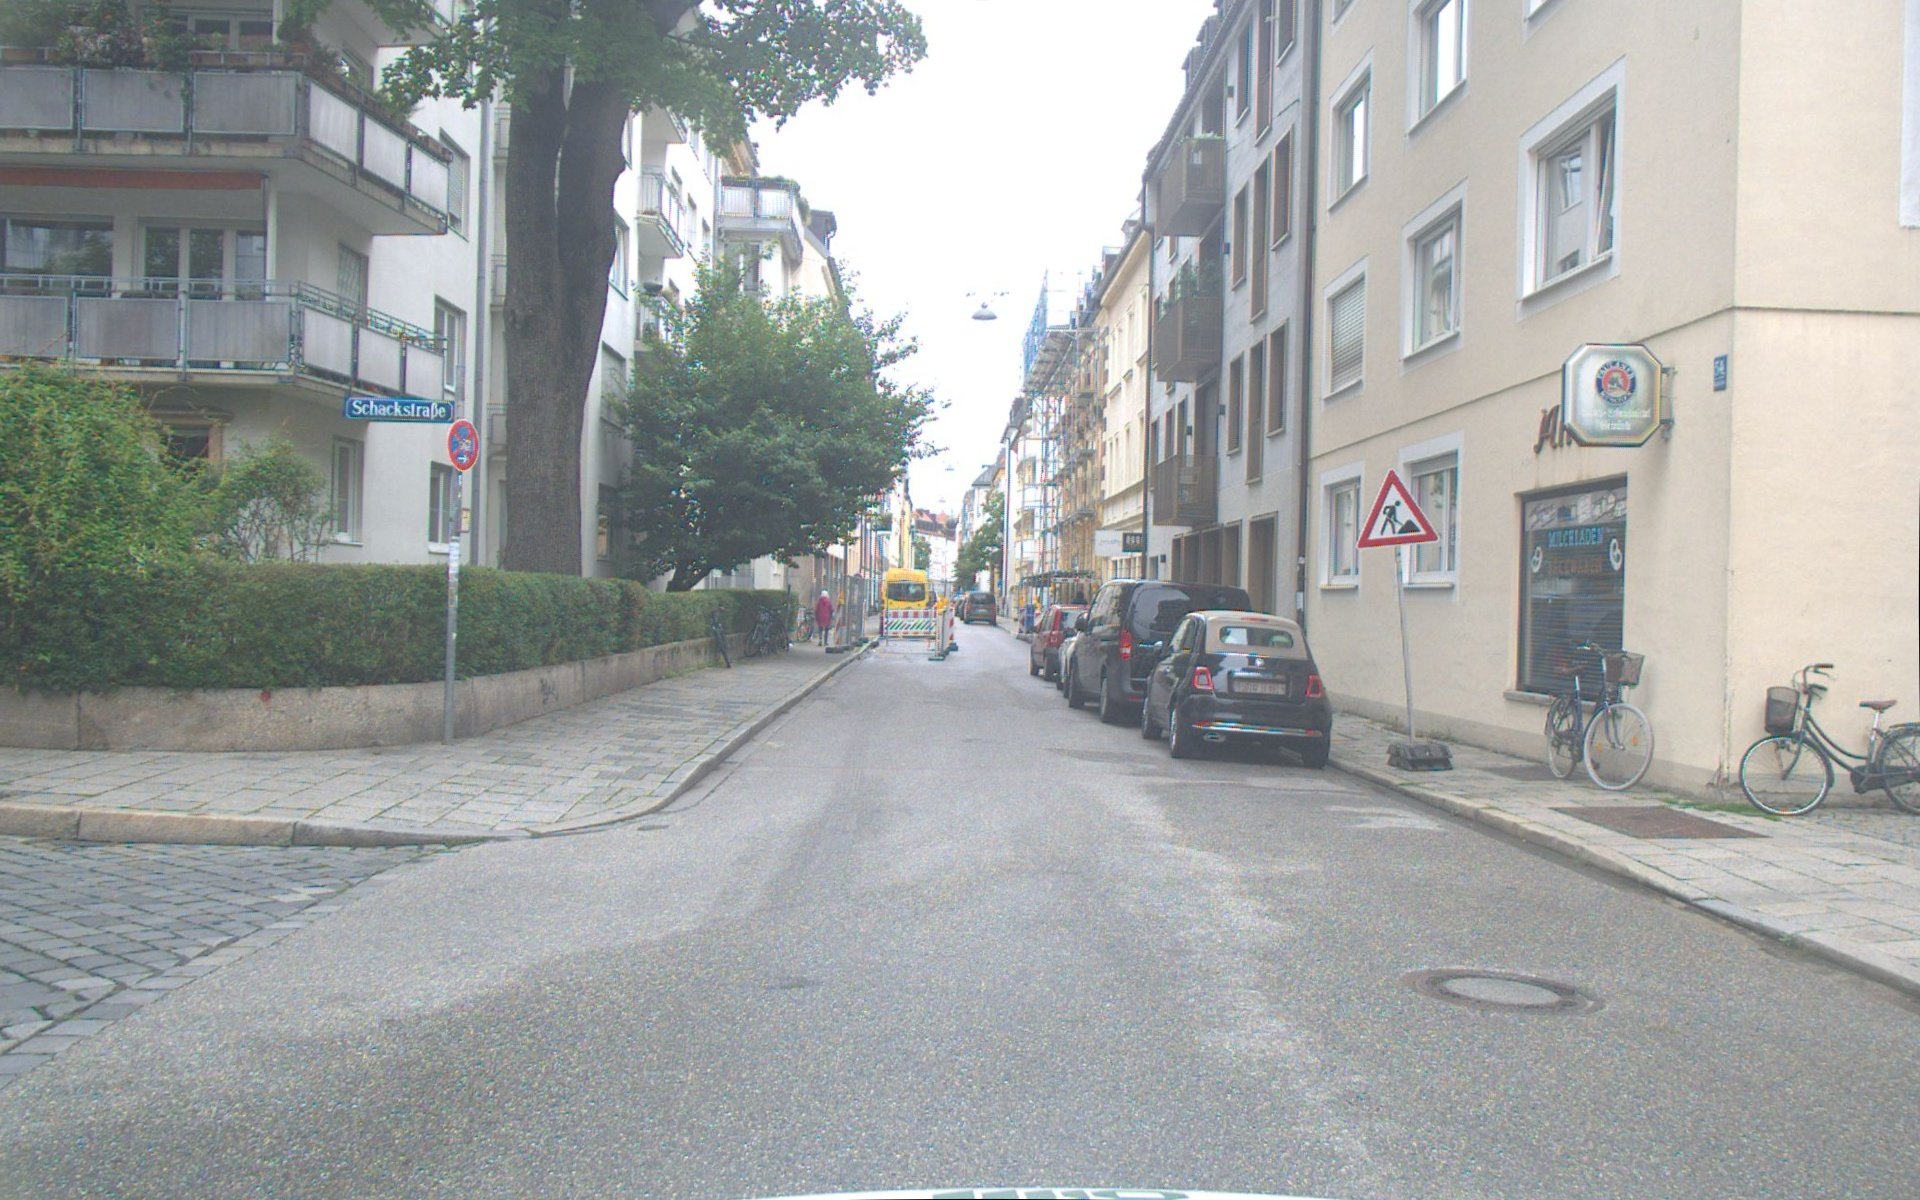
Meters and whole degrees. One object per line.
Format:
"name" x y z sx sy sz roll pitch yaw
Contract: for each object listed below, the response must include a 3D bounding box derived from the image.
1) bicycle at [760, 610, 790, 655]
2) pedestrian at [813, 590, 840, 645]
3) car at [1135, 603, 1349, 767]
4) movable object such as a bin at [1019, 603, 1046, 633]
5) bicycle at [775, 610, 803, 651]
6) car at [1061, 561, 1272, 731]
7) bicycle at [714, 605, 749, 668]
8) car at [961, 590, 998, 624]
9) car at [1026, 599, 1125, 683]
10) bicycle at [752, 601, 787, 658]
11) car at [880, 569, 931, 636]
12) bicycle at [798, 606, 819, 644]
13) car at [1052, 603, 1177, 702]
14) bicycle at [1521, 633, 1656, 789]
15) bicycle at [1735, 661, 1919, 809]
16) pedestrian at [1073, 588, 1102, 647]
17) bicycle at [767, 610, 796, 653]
"bicycle" -4.317 0.755 38.611 0.427 0.995 1.698 4 -1 0
"pedestrian" -3.888 0.492 48.182 0.625 1.558 0.747 3 0 1
"car" 2.956 0.838 17.979 1.601 1.497 3.537 3 0 -1
"movable object such as a bin" 3.439 0.845 78.255 1.063 1.370 1.318 -2 0 11
"bicycle" -4.333 0.772 42.038 0.434 0.995 1.816 4 -1 0
"car" 2.716 0.564 22.969 1.951 2.011 4.881 3 0 -4
"bicycle" -4.234 0.663 30.691 0.340 1.090 1.780 5 0 -1
"car" 1.148 0.403 100.640 1.953 1.965 4.658 3 0 -2
"car" 2.344 0.799 34.415 1.735 1.550 4.067 3 0 1
"bicycle" -4.151 0.647 36.150 0.478 1.171 1.698 4 -1 0
"car" -2.241 0.104 68.500 1.953 2.624 6.734 1 0 -2
"bicycle" -4.560 0.738 49.975 0.369 1.081 1.597 7 0 0
"car" 2.612 0.846 28.861 1.732 1.486 4.380 3 0 0
"bicycle" 5.324 0.905 14.105 0.401 1.235 1.818 -1 -1 -1
"bicycle" 6.574 0.978 12.059 1.666 1.045 0.411 0 -1 -1
"pedestrian" 3.880 0.529 50.558 0.715 1.783 0.988 -2 0 -2
"bicycle" -4.324 0.761 40.173 0.434 0.995 1.853 4 -1 0
